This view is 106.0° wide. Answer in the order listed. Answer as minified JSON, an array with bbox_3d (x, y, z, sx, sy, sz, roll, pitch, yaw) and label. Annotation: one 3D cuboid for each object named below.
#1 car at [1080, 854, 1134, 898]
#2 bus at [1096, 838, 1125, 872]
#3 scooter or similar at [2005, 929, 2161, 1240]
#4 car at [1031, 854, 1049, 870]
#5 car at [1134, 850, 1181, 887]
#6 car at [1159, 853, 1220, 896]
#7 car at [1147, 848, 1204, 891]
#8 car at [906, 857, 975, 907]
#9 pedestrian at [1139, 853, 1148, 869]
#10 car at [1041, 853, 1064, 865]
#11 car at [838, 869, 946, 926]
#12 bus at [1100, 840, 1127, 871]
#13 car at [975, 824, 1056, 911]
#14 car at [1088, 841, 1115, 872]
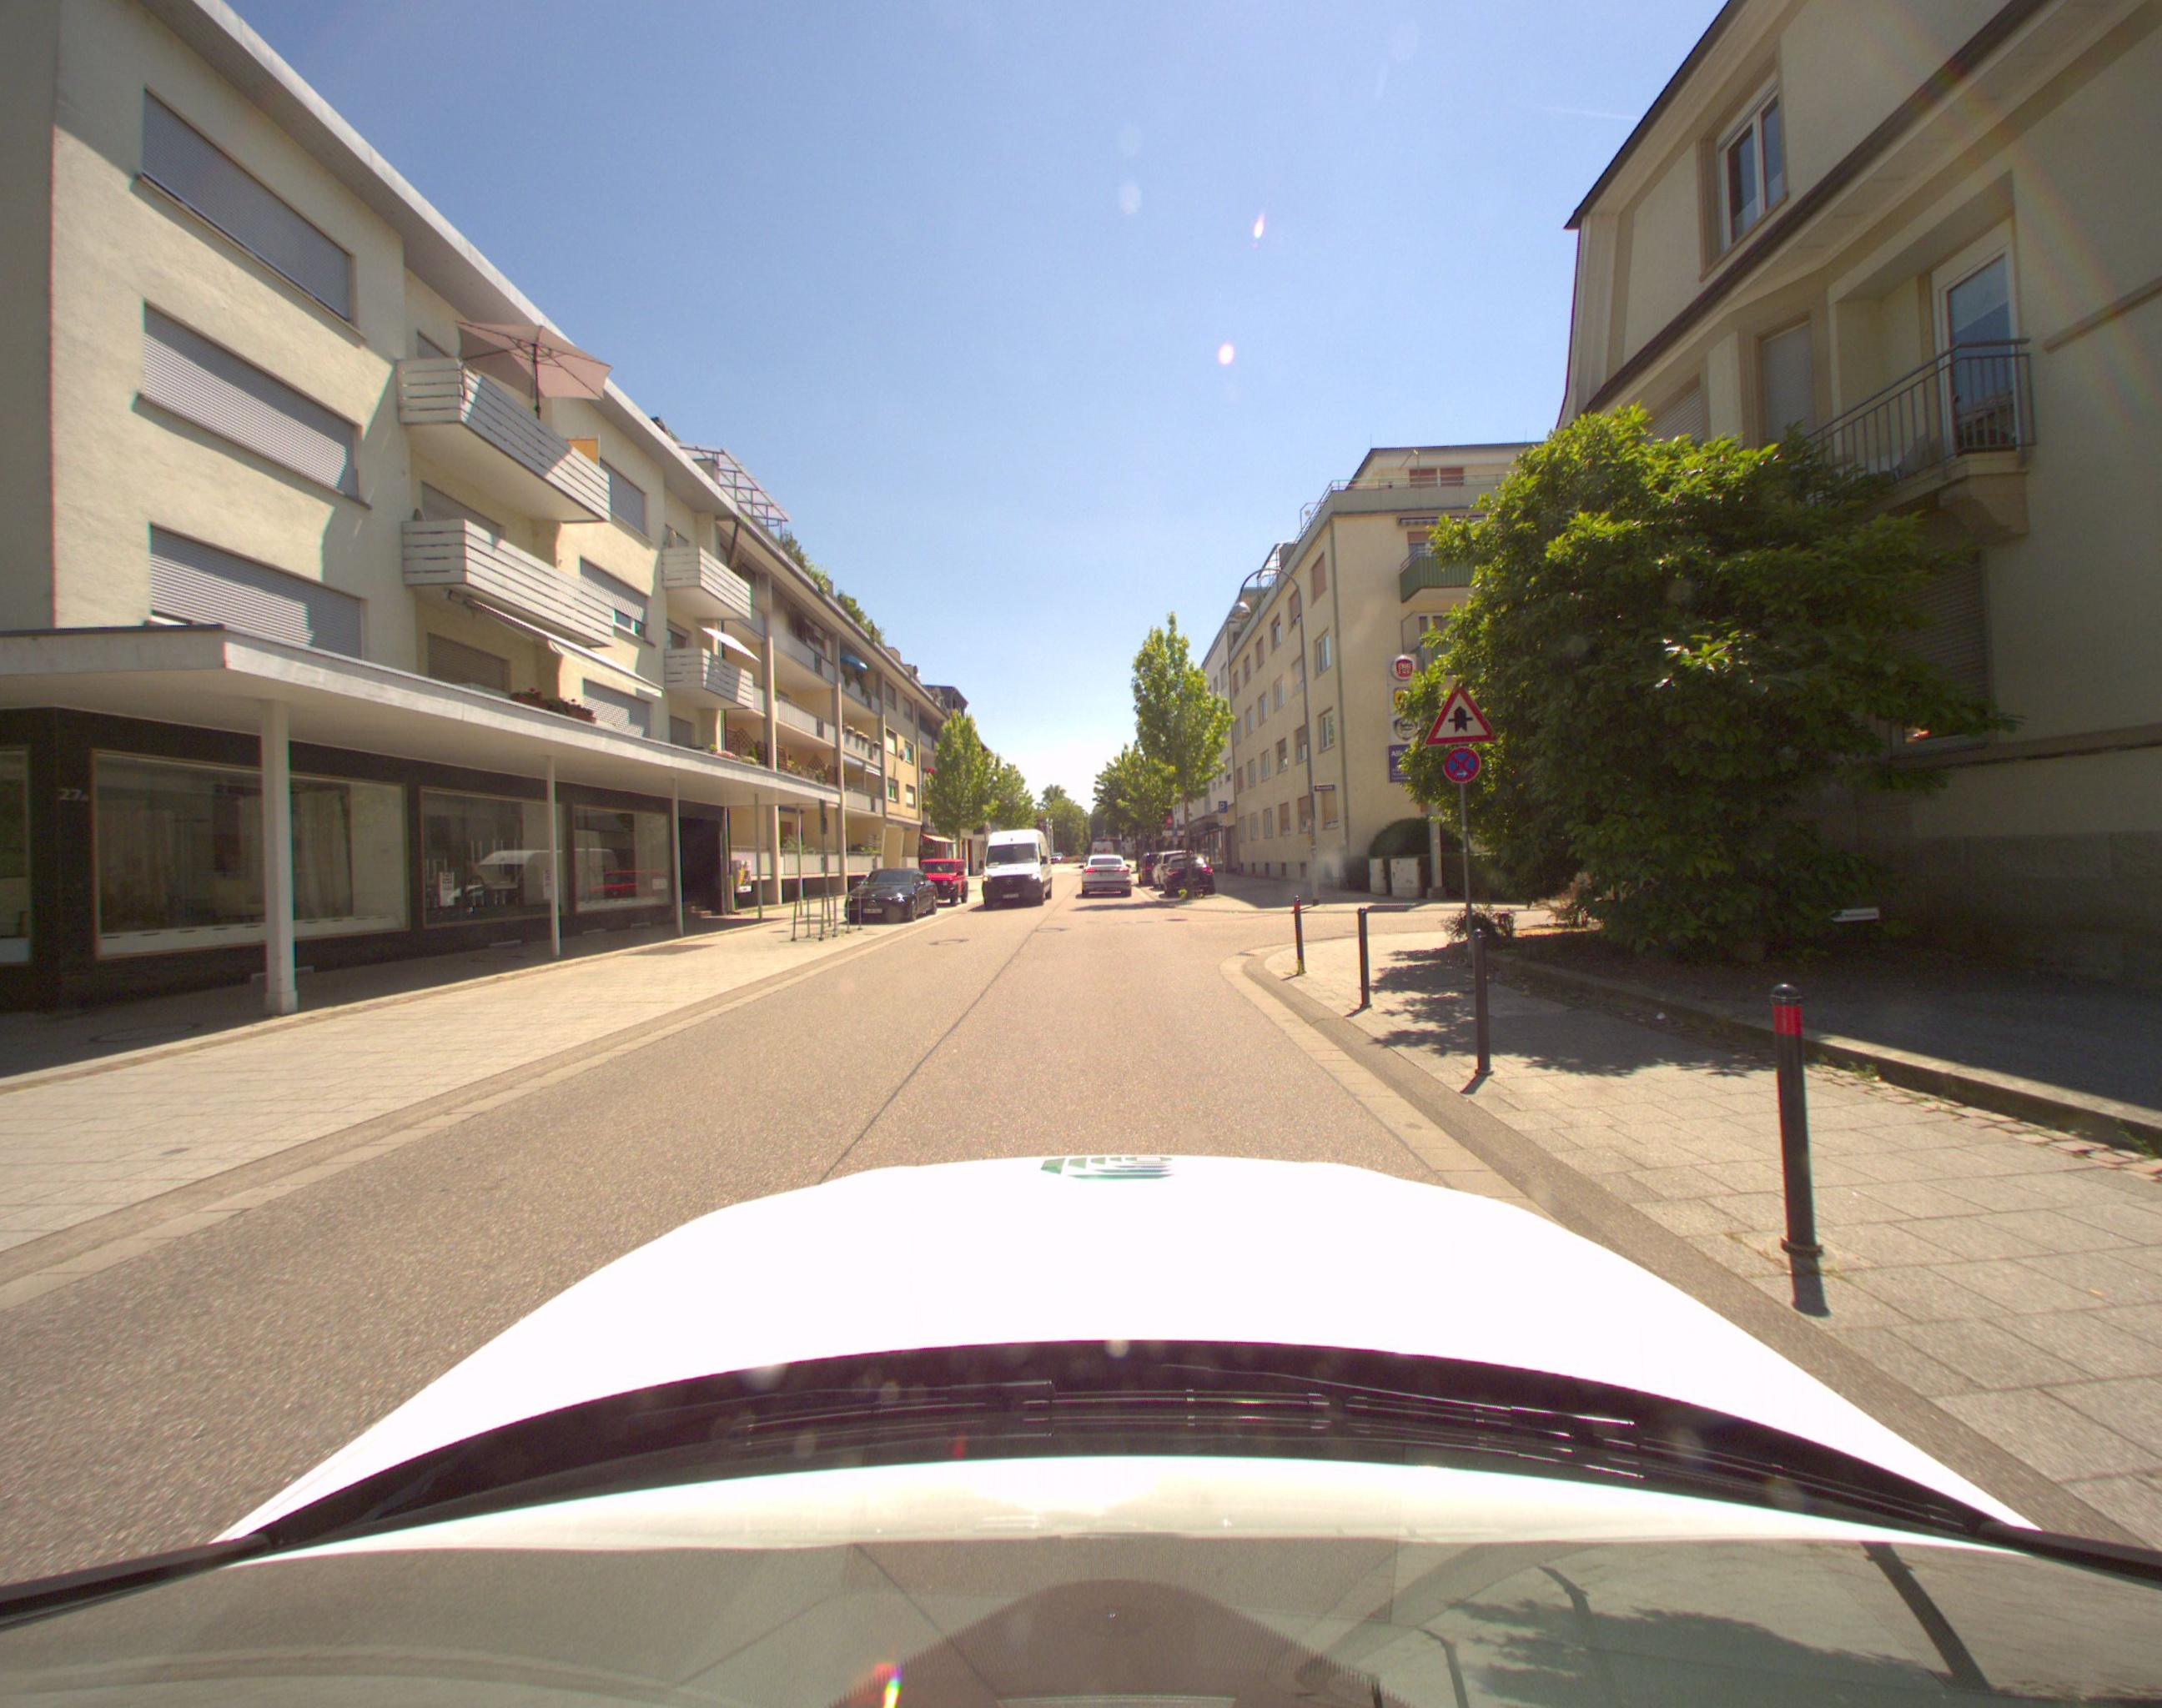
[{"bbox_3d":[0.969,0.828,32.359,1.987,1.633,4.000,-1,0,0],"label":"car"},{"bbox_3d":[3.028,0.126,81.381,2.649,3.221,7.308,0,-1,4],"label":"bus"},{"bbox_3d":[3.906,0.785,2.751,0.661,0.963,0.754,-4,0,1],"label":"scooter or similar"},{"bbox_3d":[-4.992,0.959,99.125,1.850,1.692,4.151,-4,0,1],"label":"car"},{"bbox_3d":[3.900,0.715,42.185,1.850,1.674,4.534,-4,0,-1],"label":"car"},{"bbox_3d":[3.995,0.717,30.693,1.888,1.438,4.548,-3,0,3],"label":"car"},{"bbox_3d":[4.193,0.656,36.835,1.891,1.674,4.688,-4,0,-1],"label":"car"},{"bbox_3d":[-5.117,0.986,30.105,1.746,1.702,4.102,0,0,1],"label":"car"},{"bbox_3d":[6.038,0.711,79.270,0.716,1.502,0.581,-3,-1,-7],"label":"pedestrian"},{"bbox_3d":[-4.307,0.812,123.922,1.848,1.757,4.023,-1,-1,25],"label":"car"},{"bbox_3d":[-5.315,1.174,23.629,1.889,1.417,5.048,0,0,1],"label":"car"},{"bbox_3d":[3.570,0.217,88.750,2.649,3.210,7.459,0,-1,4],"label":"bus"},{"bbox_3d":[-2.186,0.437,29.297,2.029,2.630,7.108,-4,0,1],"label":"car"},{"bbox_3d":[1.705,0.257,67.168,2.148,2.442,5.285,0,-1,2],"label":"car"}]
